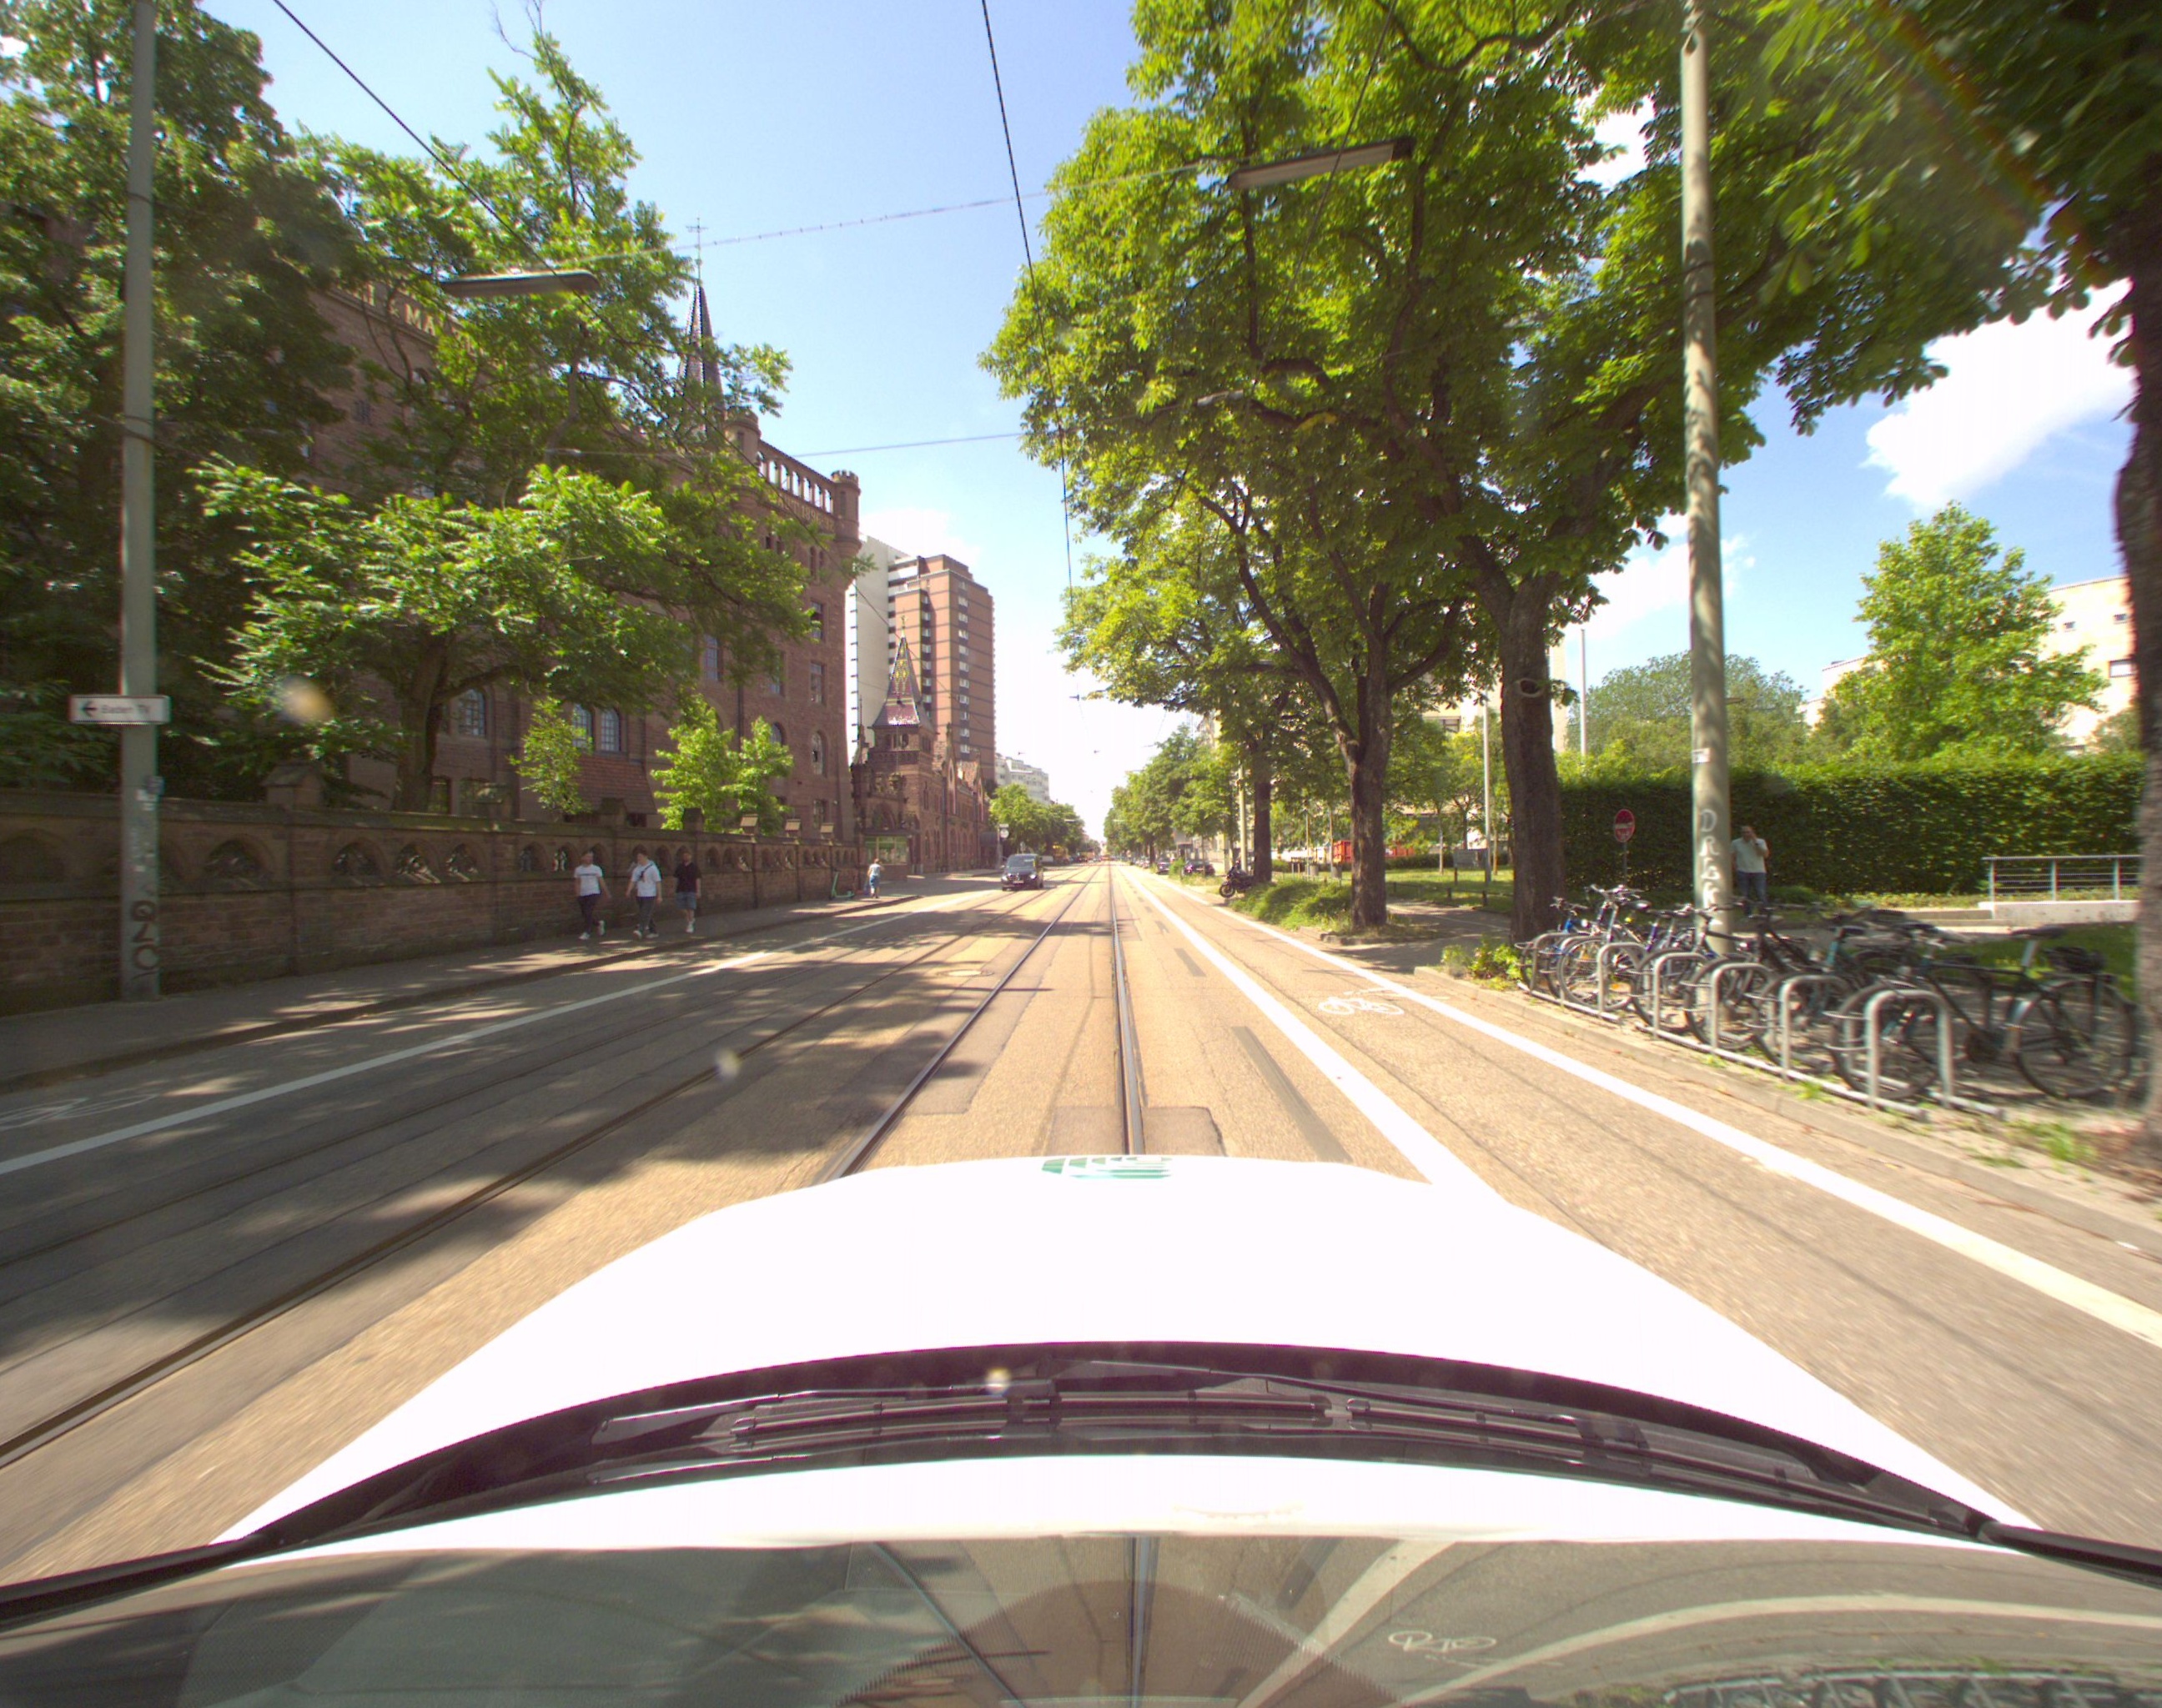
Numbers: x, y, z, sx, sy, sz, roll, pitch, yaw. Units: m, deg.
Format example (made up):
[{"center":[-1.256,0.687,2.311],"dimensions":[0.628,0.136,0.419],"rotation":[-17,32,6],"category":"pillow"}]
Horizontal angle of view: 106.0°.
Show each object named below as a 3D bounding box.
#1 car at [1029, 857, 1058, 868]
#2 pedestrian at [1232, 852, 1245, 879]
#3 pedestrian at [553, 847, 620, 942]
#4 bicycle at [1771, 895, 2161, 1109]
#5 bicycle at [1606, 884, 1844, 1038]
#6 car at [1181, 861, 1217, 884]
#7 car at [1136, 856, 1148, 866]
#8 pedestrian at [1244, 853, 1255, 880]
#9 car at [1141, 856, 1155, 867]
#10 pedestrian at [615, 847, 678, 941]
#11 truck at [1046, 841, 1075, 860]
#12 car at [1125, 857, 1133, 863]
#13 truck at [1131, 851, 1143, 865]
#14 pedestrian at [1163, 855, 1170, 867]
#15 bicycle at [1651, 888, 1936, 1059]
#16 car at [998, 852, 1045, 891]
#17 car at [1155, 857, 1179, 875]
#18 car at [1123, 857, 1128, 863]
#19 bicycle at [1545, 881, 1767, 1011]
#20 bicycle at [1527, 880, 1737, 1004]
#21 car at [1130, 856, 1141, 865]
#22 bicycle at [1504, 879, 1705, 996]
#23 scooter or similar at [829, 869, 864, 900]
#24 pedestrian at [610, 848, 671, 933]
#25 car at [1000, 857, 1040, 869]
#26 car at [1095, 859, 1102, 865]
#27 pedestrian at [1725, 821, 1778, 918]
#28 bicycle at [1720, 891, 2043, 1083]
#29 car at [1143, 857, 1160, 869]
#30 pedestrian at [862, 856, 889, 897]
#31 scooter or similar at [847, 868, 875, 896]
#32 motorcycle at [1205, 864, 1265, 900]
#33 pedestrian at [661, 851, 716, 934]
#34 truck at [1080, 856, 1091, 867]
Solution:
[{"center":[-6.421,1.457,139.143],"dimensions":[4.562,1.791,1.882],"rotation":[0,0,-31],"category":"car"},{"center":[9.391,0.692,48.553],"dimensions":[0.616,1.573,0.611],"rotation":[-3,-1,2],"category":"pedestrian"},{"center":[-9.645,0.763,15.907],"dimensions":[0.674,1.776,0.920],"rotation":[2,0,2],"category":"pedestrian"},{"center":[5.240,0.847,4.866],"dimensions":[1.803,1.111,0.514],"rotation":[-2,0,-2],"category":"bicycle"},{"center":[5.364,0.852,6.794],"dimensions":[1.809,1.111,0.488],"rotation":[-2,-1,-12],"category":"bicycle"},{"center":[6.939,1.051,48.072],"dimensions":[1.744,1.270,3.835],"rotation":[0,0,2],"category":"car"},{"center":[9.988,1.128,133.442],"dimensions":[1.816,1.471,4.490],"rotation":[-1,0,3],"category":"car"},{"center":[10.006,0.724,48.461],"dimensions":[0.511,1.573,0.545],"rotation":[-3,-1,2],"category":"pedestrian"},{"center":[9.277,0.992,113.624],"dimensions":[1.665,1.517,4.202],"rotation":[-1,0,1],"category":"car"},{"center":[-8.598,0.775,16.149],"dimensions":[0.674,1.790,0.920],"rotation":[2,0,2],"category":"pedestrian"},{"center":[-4.135,-0.667,168.233],"dimensions":[2.694,3.842,11.010],"rotation":[0,-1,16],"category":"truck"},{"center":[12.250,1.590,208.168],"dimensions":[1.634,1.485,3.871],"rotation":[-2,-1,-1],"category":"car"},{"center":[10.691,0.774,154.873],"dimensions":[2.007,2.489,5.958],"rotation":[-1,0,2],"category":"truck"},{"center":[11.844,0.949,112.655],"dimensions":[0.796,1.589,0.919],"rotation":[-3,0,1],"category":"pedestrian"},{"center":[5.344,0.860,6.136],"dimensions":[1.806,1.111,0.532],"rotation":[-2,0,-8],"category":"bicycle"},{"center":[-2.947,0.850,41.199],"dimensions":[1.897,1.788,4.257],"rotation":[-1,0,2],"category":"car"},{"center":[7.406,0.998,70.291],"dimensions":[1.665,1.408,4.750],"rotation":[-1,0,1],"category":"car"},{"center":[13.586,1.786,249.423],"dimensions":[1.586,1.617,3.909],"rotation":[-2,-1,2],"category":"car"},{"center":[5.392,0.848,7.667],"dimensions":[1.802,1.111,0.395],"rotation":[-2,-1,-2],"category":"bicycle"},{"center":[5.434,0.854,8.066],"dimensions":[1.803,1.111,0.395],"rotation":[-2,-1,-2],"category":"bicycle"},{"center":[9.734,1.189,144.144],"dimensions":[1.816,1.471,4.406],"rotation":[-1,0,5],"category":"car"},{"center":[5.437,0.855,8.497],"dimensions":[1.802,1.111,0.449],"rotation":[-2,-1,-2],"category":"bicycle"},{"center":[-8.832,1.151,30.750],"dimensions":[1.232,1.127,0.344],"rotation":[2,-2,-45],"category":"scooter or similar"},{"center":[-9.560,0.764,17.713],"dimensions":[0.749,1.776,0.920],"rotation":[2,0,2],"category":"pedestrian"},{"center":[-7.976,1.166,106.309],"dimensions":[4.790,1.566,1.984],"rotation":[-1,0,-27],"category":"car"},{"center":[5.101,2.362,232.469],"dimensions":[1.824,1.681,4.187],"rotation":[-2,0,2],"category":"car"},{"center":[12.366,0.279,15.021],"dimensions":[0.660,1.748,0.620],"rotation":[-2,-1,-43],"category":"pedestrian"},{"center":[5.394,0.855,5.516],"dimensions":[1.806,1.111,0.534],"rotation":[-2,0,-8],"category":"bicycle"},{"center":[8.682,1.082,100.556],"dimensions":[1.666,1.499,4.363],"rotation":[-1,0,-1],"category":"car"},{"center":[-8.195,0.903,32.490],"dimensions":[0.796,1.589,0.920],"rotation":[2,0,2],"category":"pedestrian"},{"center":[-9.234,1.165,34.217],"dimensions":[0.325,1.127,1.230],"rotation":[0,0,30],"category":"scooter or similar"},{"center":[5.480,0.999,29.017],"dimensions":[2.035,1.213,0.617],"rotation":[-2,-2,41],"category":"motorcycle"},{"center":[-8.556,0.820,17.791],"dimensions":[0.674,1.748,0.920],"rotation":[2,0,2],"category":"pedestrian"},{"center":[1.201,1.936,224.417],"dimensions":[2.350,2.852,7.385],"rotation":[-2,0,4],"category":"truck"}]
